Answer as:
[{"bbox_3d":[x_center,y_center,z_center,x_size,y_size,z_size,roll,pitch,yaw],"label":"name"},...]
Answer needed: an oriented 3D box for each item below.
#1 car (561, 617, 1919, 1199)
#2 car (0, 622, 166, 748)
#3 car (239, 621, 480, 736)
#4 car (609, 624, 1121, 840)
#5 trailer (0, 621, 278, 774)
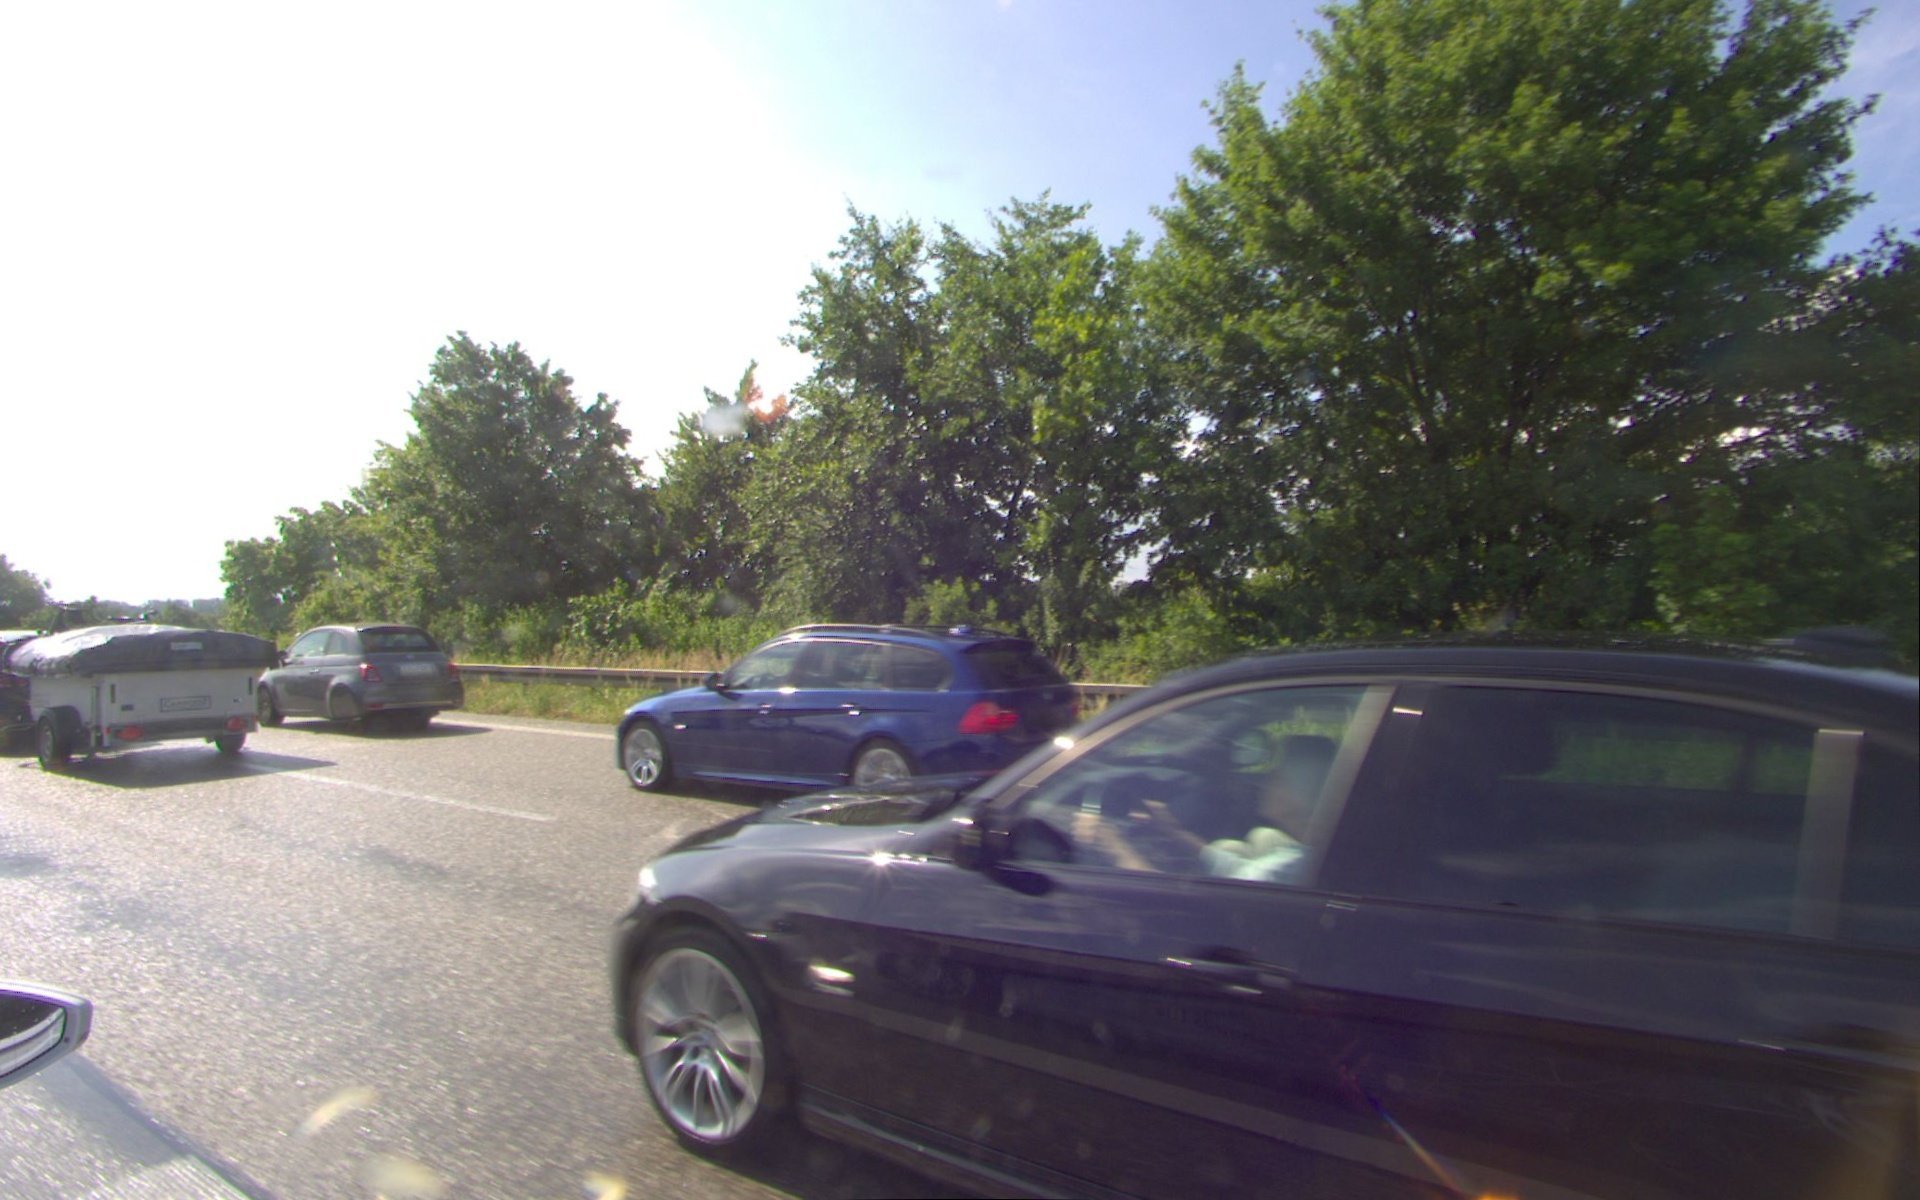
[{"bbox_3d":[0.892,0.769,2.566,3.782,1.439,1.736,-1,-1,34],"label":"car"},{"bbox_3d":[-12.520,1.028,13.342,4.199,1.460,1.850,-1,-1,34],"label":"car"},{"bbox_3d":[-8.887,1.060,14.761,3.620,1.502,1.667,-1,-1,34],"label":"car"},{"bbox_3d":[-0.934,0.915,8.541,4.231,1.420,1.766,-1,-1,35],"label":"car"},{"bbox_3d":[-9.793,0.978,11.510,4.090,1.460,1.850,-1,-1,34],"label":"trailer"}]
